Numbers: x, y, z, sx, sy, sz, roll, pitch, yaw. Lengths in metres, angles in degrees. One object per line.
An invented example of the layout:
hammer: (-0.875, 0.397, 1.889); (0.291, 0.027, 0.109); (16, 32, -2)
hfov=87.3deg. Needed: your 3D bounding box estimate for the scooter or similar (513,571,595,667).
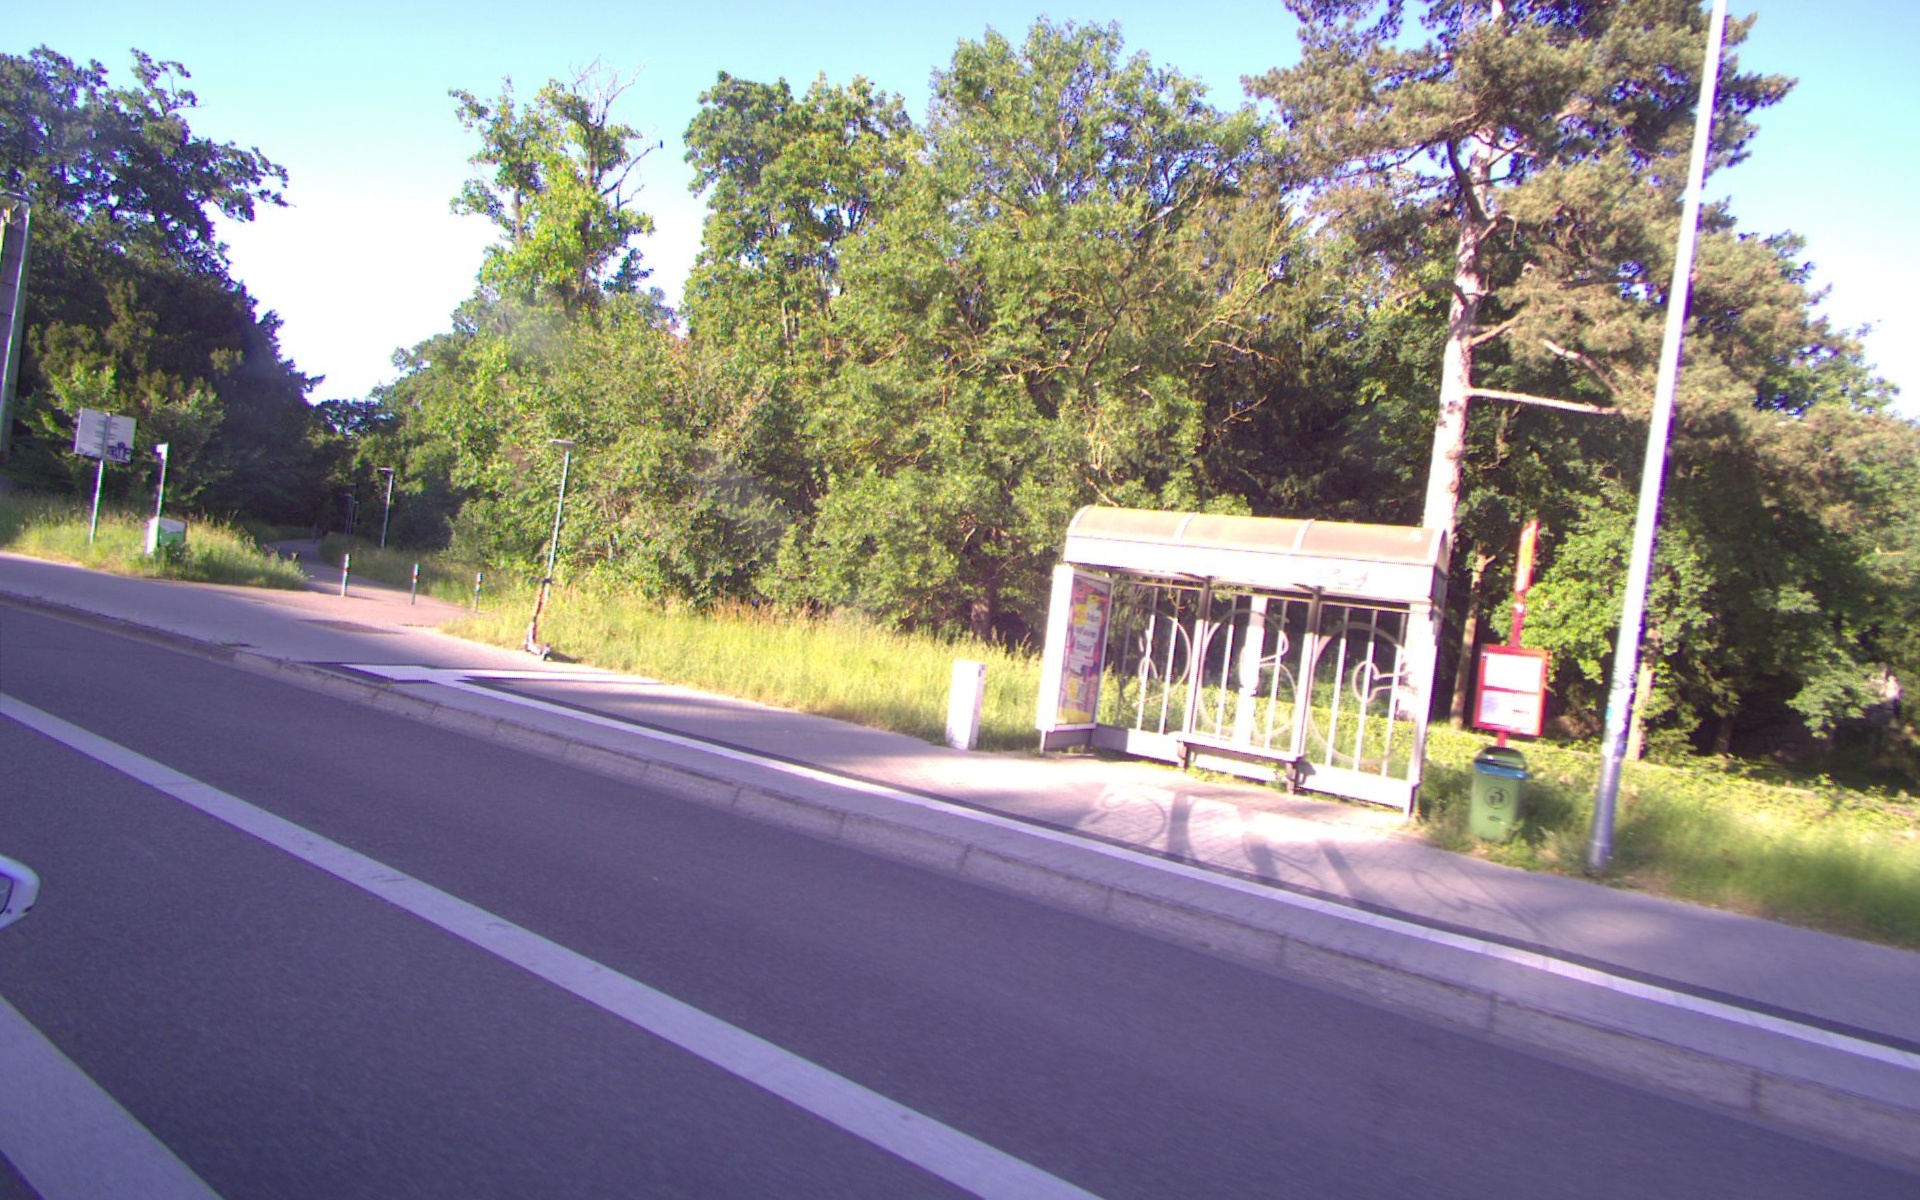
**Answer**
scooter or similar: (-6.118, 0.269, 15.145); (0.718, 1.263, 1.315); (7, 0, -36)
